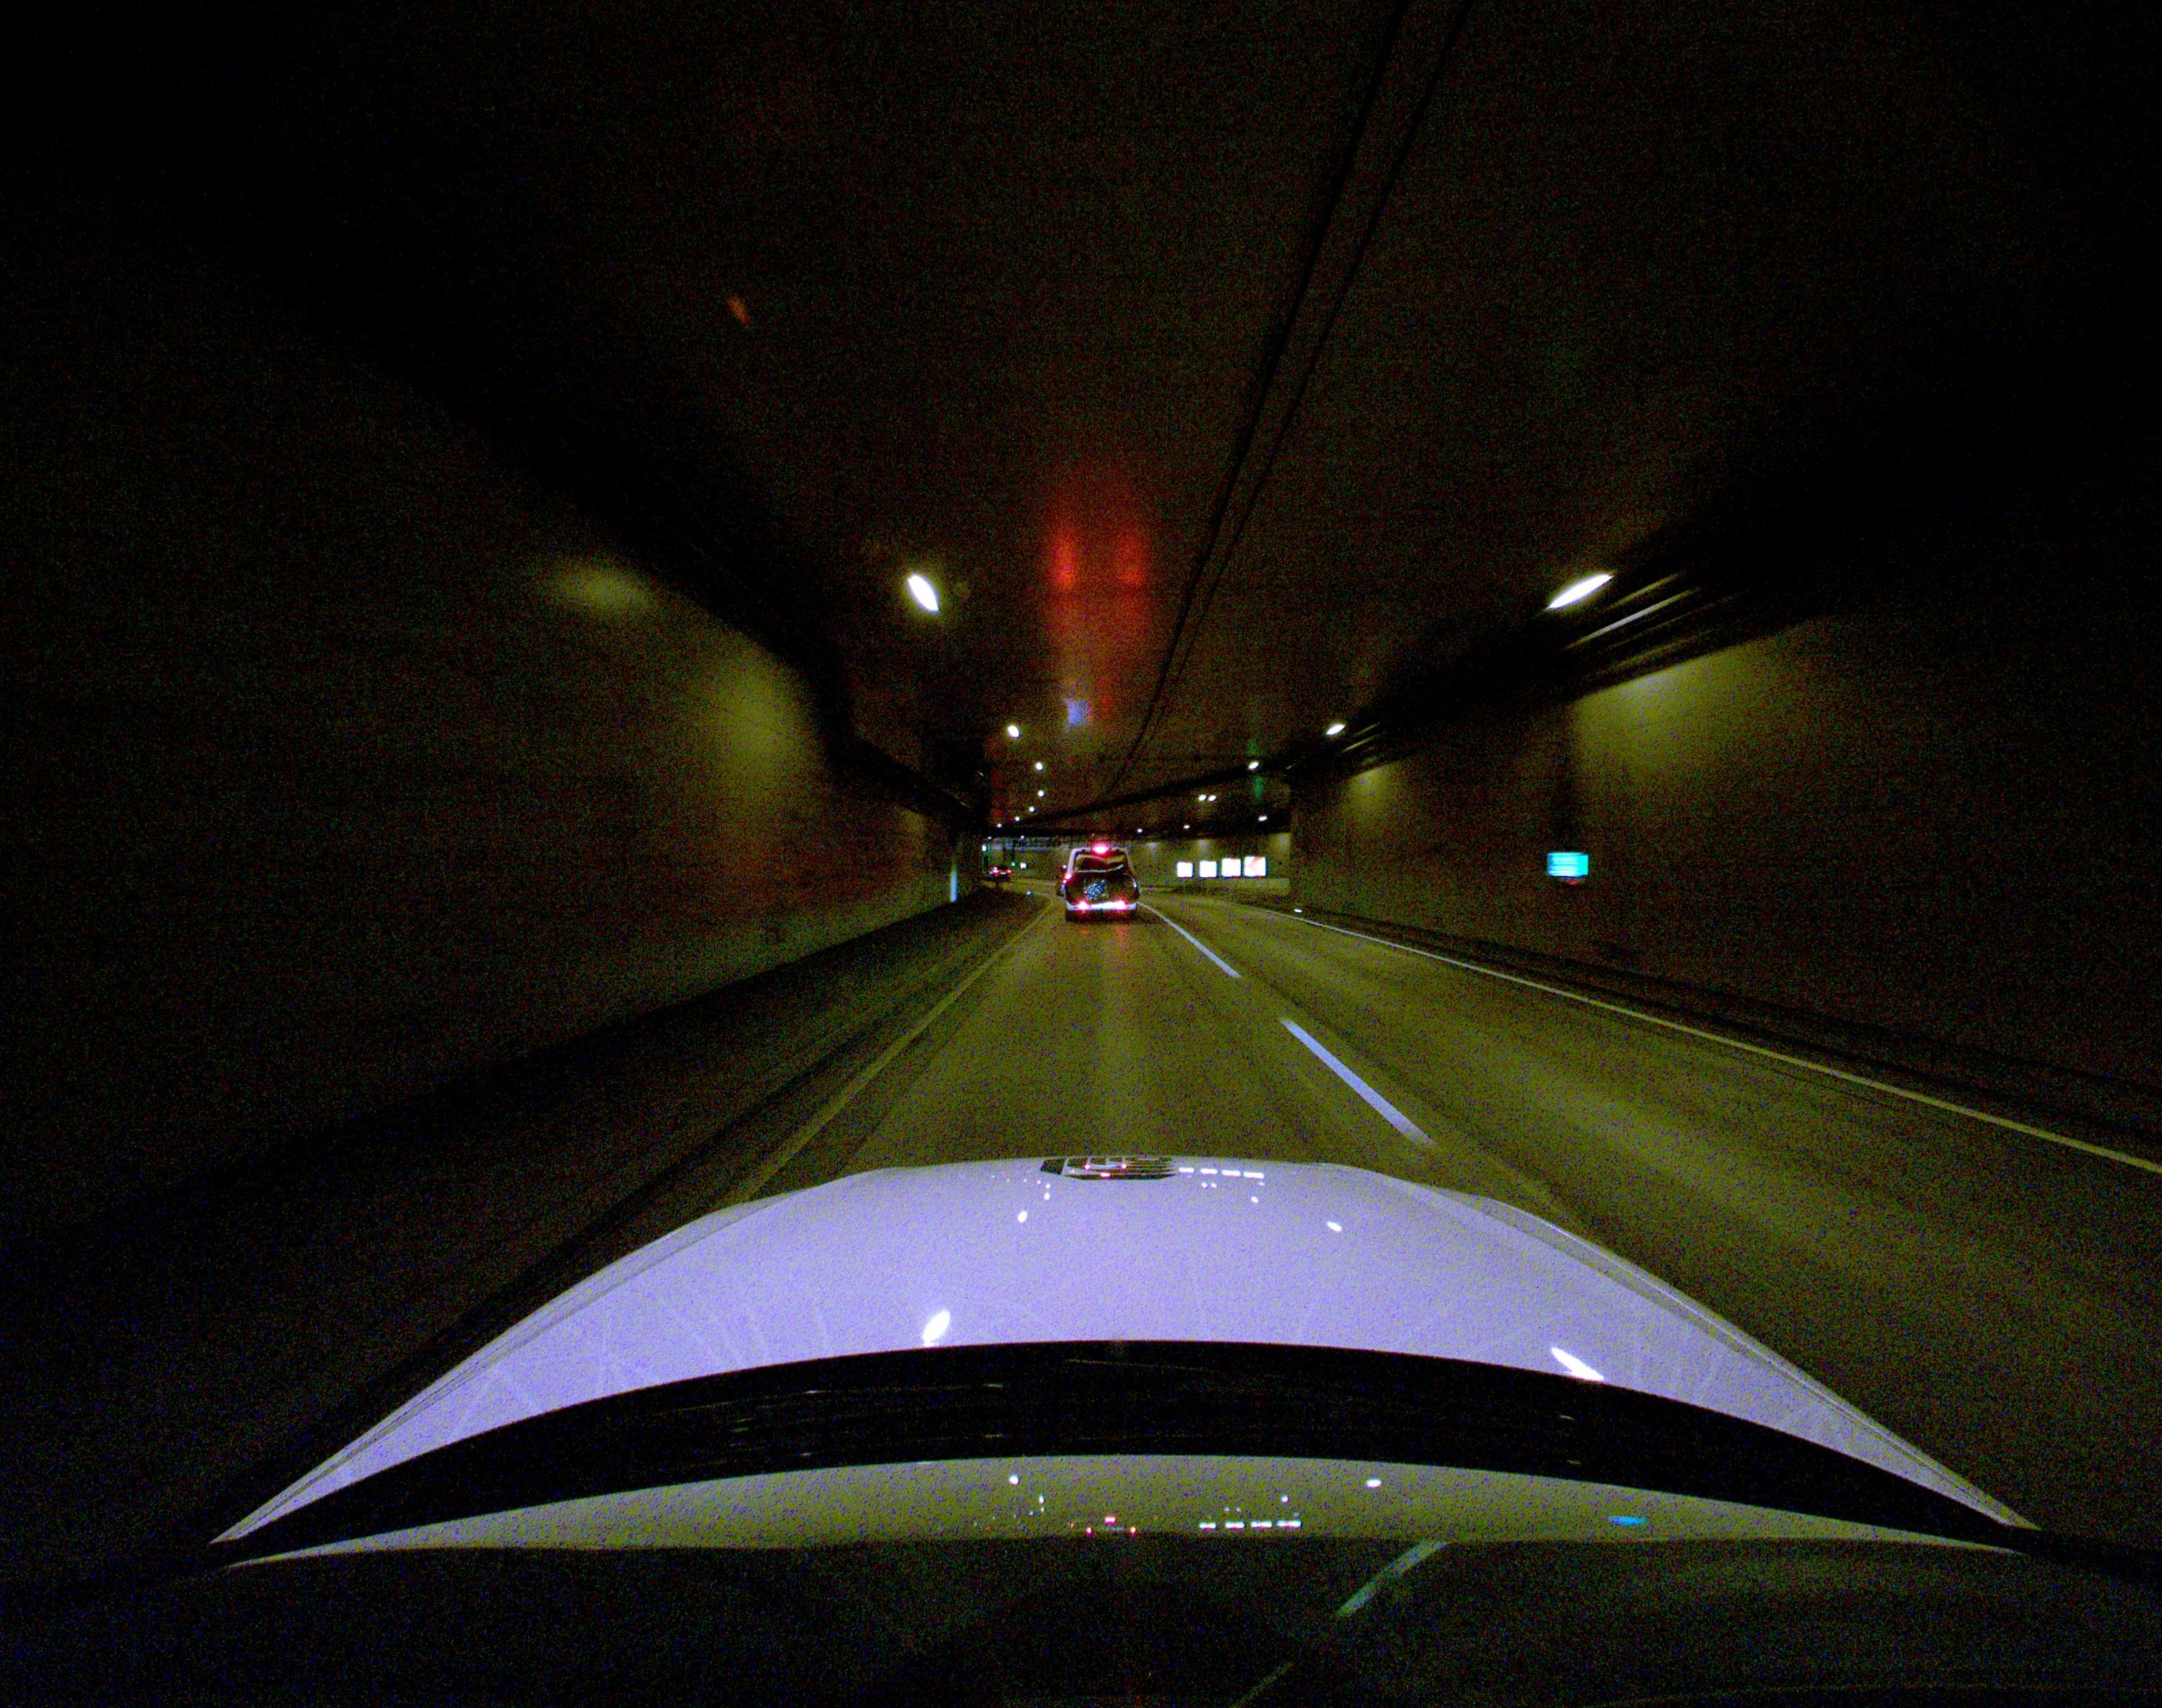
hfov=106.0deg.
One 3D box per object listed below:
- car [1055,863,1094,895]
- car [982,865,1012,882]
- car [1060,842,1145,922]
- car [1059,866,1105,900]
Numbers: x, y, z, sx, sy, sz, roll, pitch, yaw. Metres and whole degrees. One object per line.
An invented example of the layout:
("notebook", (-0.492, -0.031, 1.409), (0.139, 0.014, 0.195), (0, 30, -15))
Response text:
("car", (-0.382, 1.341, 42.649), (1.601, 1.594, 3.346), (1, -3, -8))
("car", (-8.510, 1.940, 82.642), (1.831, 1.630, 3.812), (2, -1, -25))
("car", (0.514, 0.739, 22.109), (1.987, 1.847, 5.299), (-2, -2, 0))
("car", (-0.005, 1.224, 34.854), (1.601, 1.395, 3.268), (0, -1, -7))
